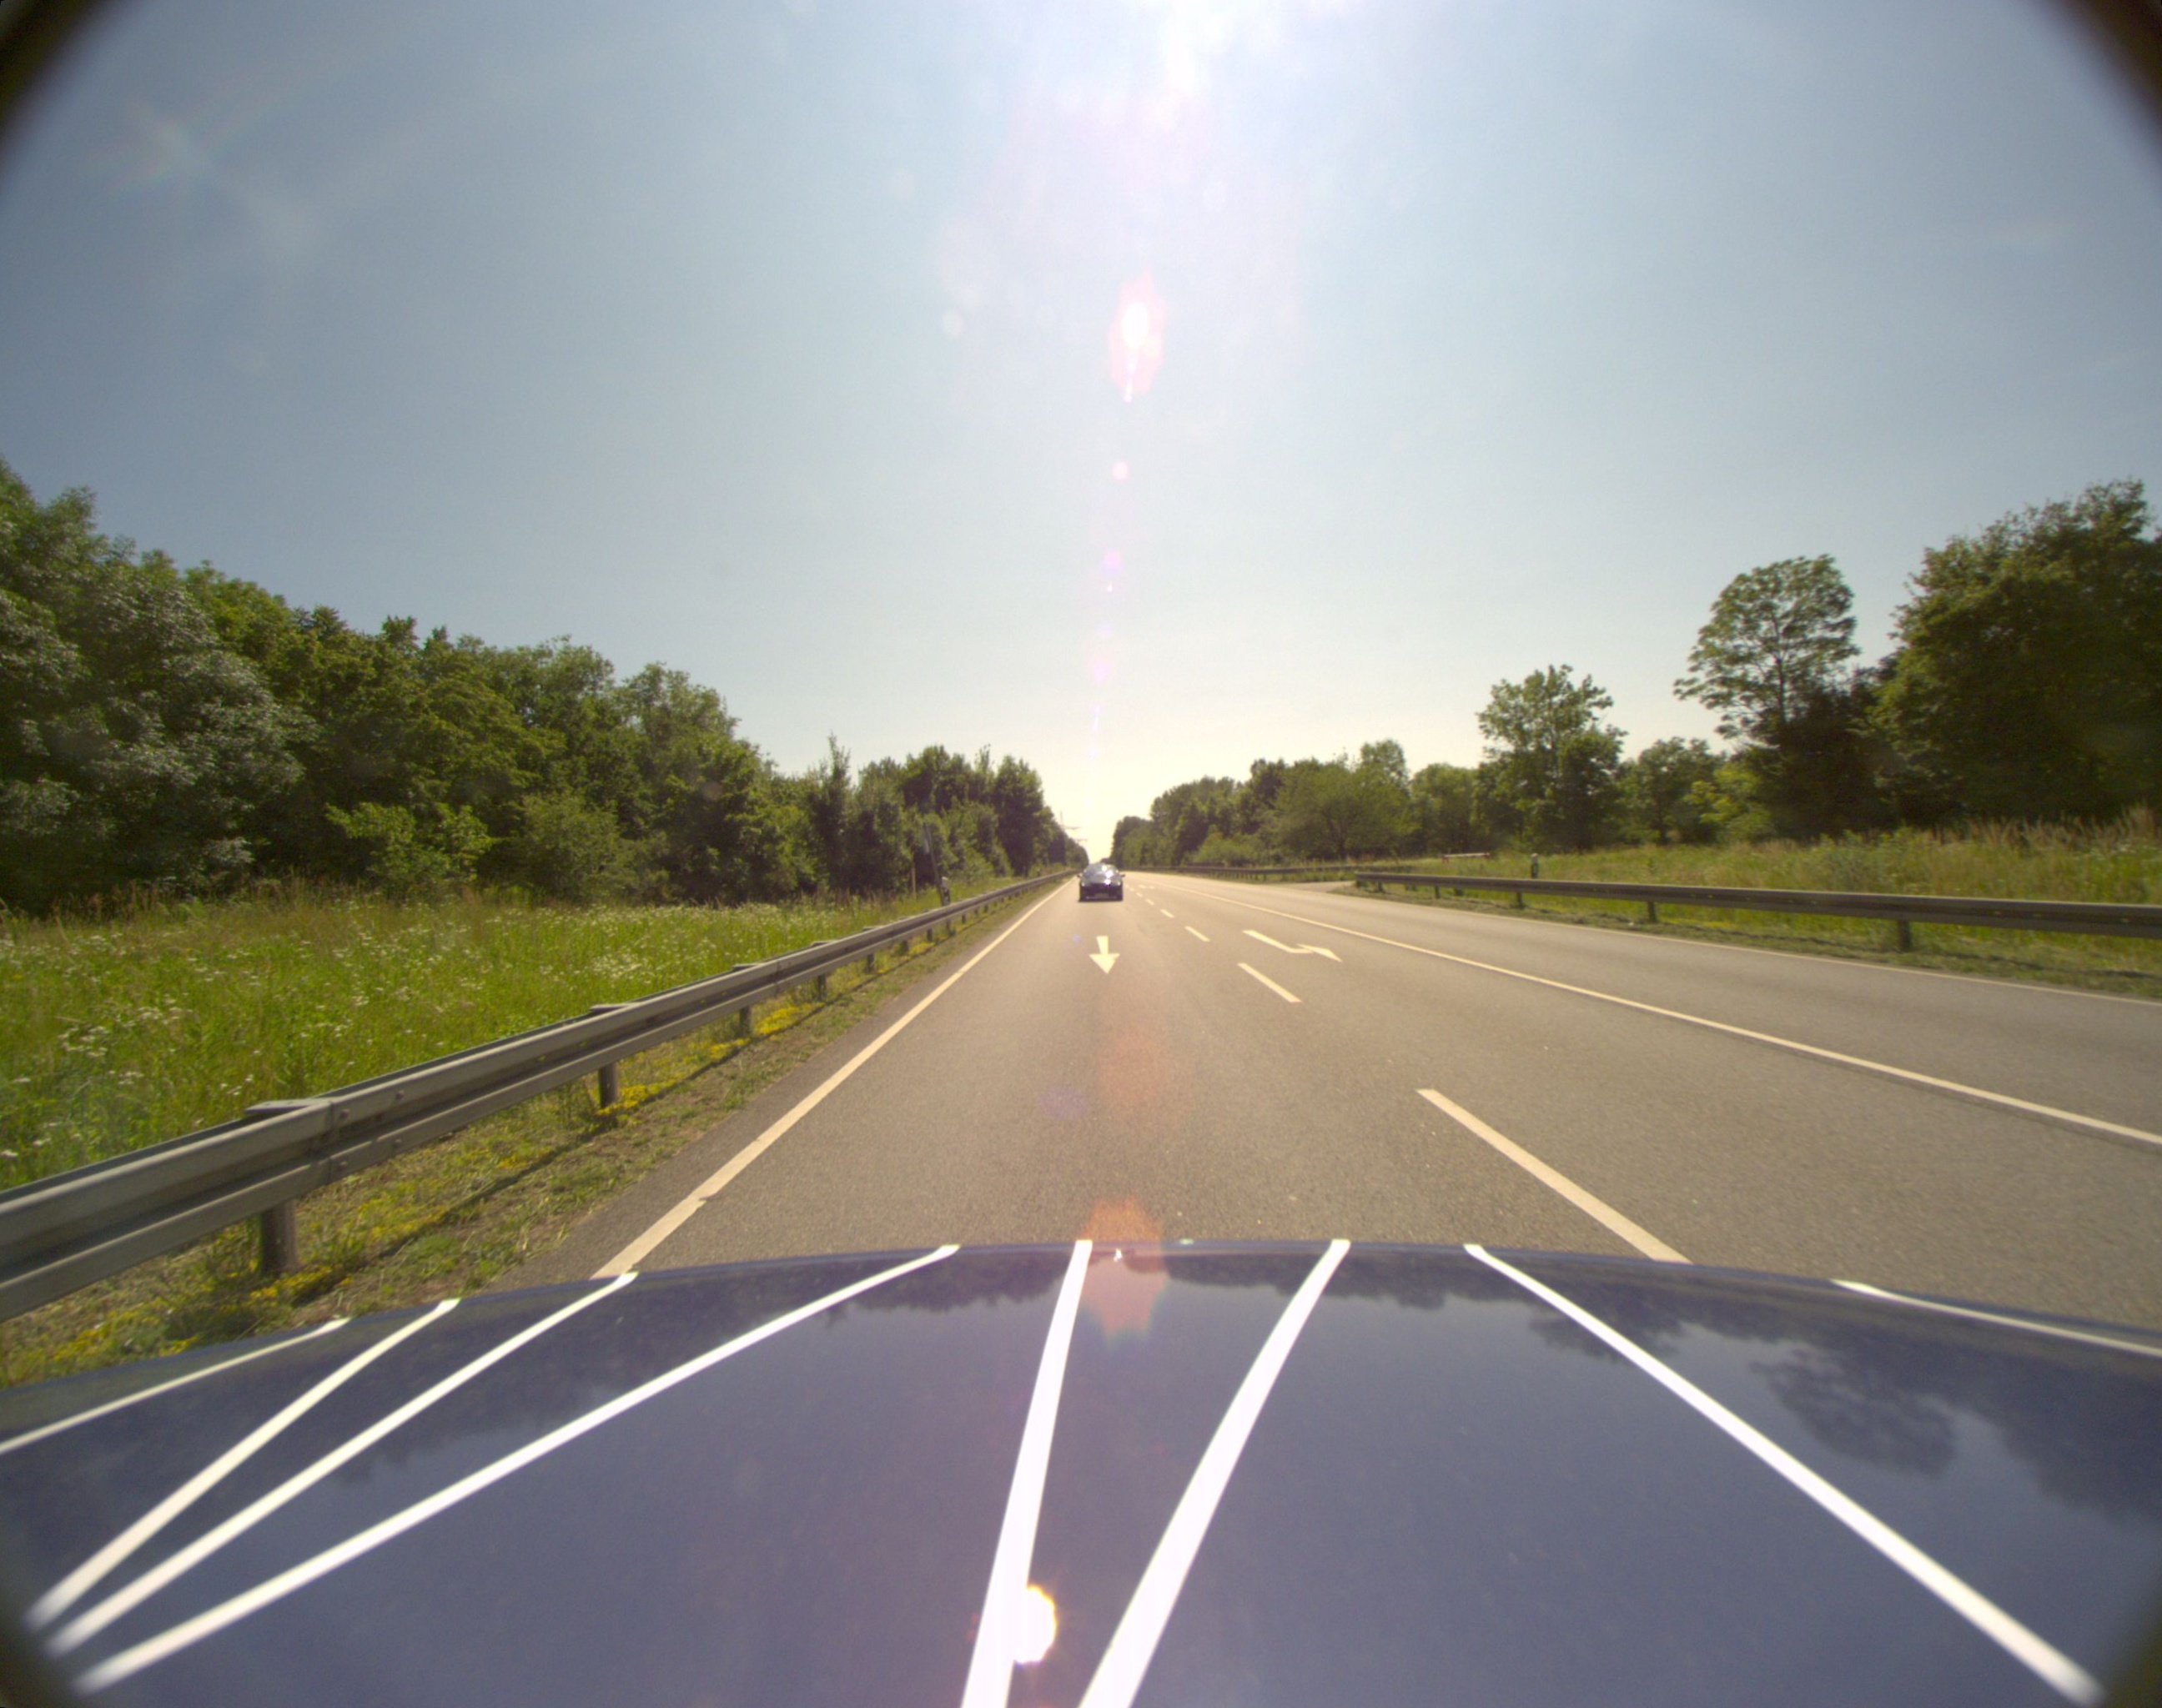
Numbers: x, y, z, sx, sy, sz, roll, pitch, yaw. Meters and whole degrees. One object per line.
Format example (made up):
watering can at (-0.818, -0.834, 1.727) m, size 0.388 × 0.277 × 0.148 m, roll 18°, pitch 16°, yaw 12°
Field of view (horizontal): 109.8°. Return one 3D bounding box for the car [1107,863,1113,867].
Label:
car at (9.712, 3.720, 255.768) m, size 1.822 × 1.537 × 4.527 m, roll -2°, pitch 0°, yaw 0°

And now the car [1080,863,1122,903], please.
car at (0.765, 1.082, 29.641) m, size 1.529 × 1.387 × 3.443 m, roll -1°, pitch 0°, yaw 1°
